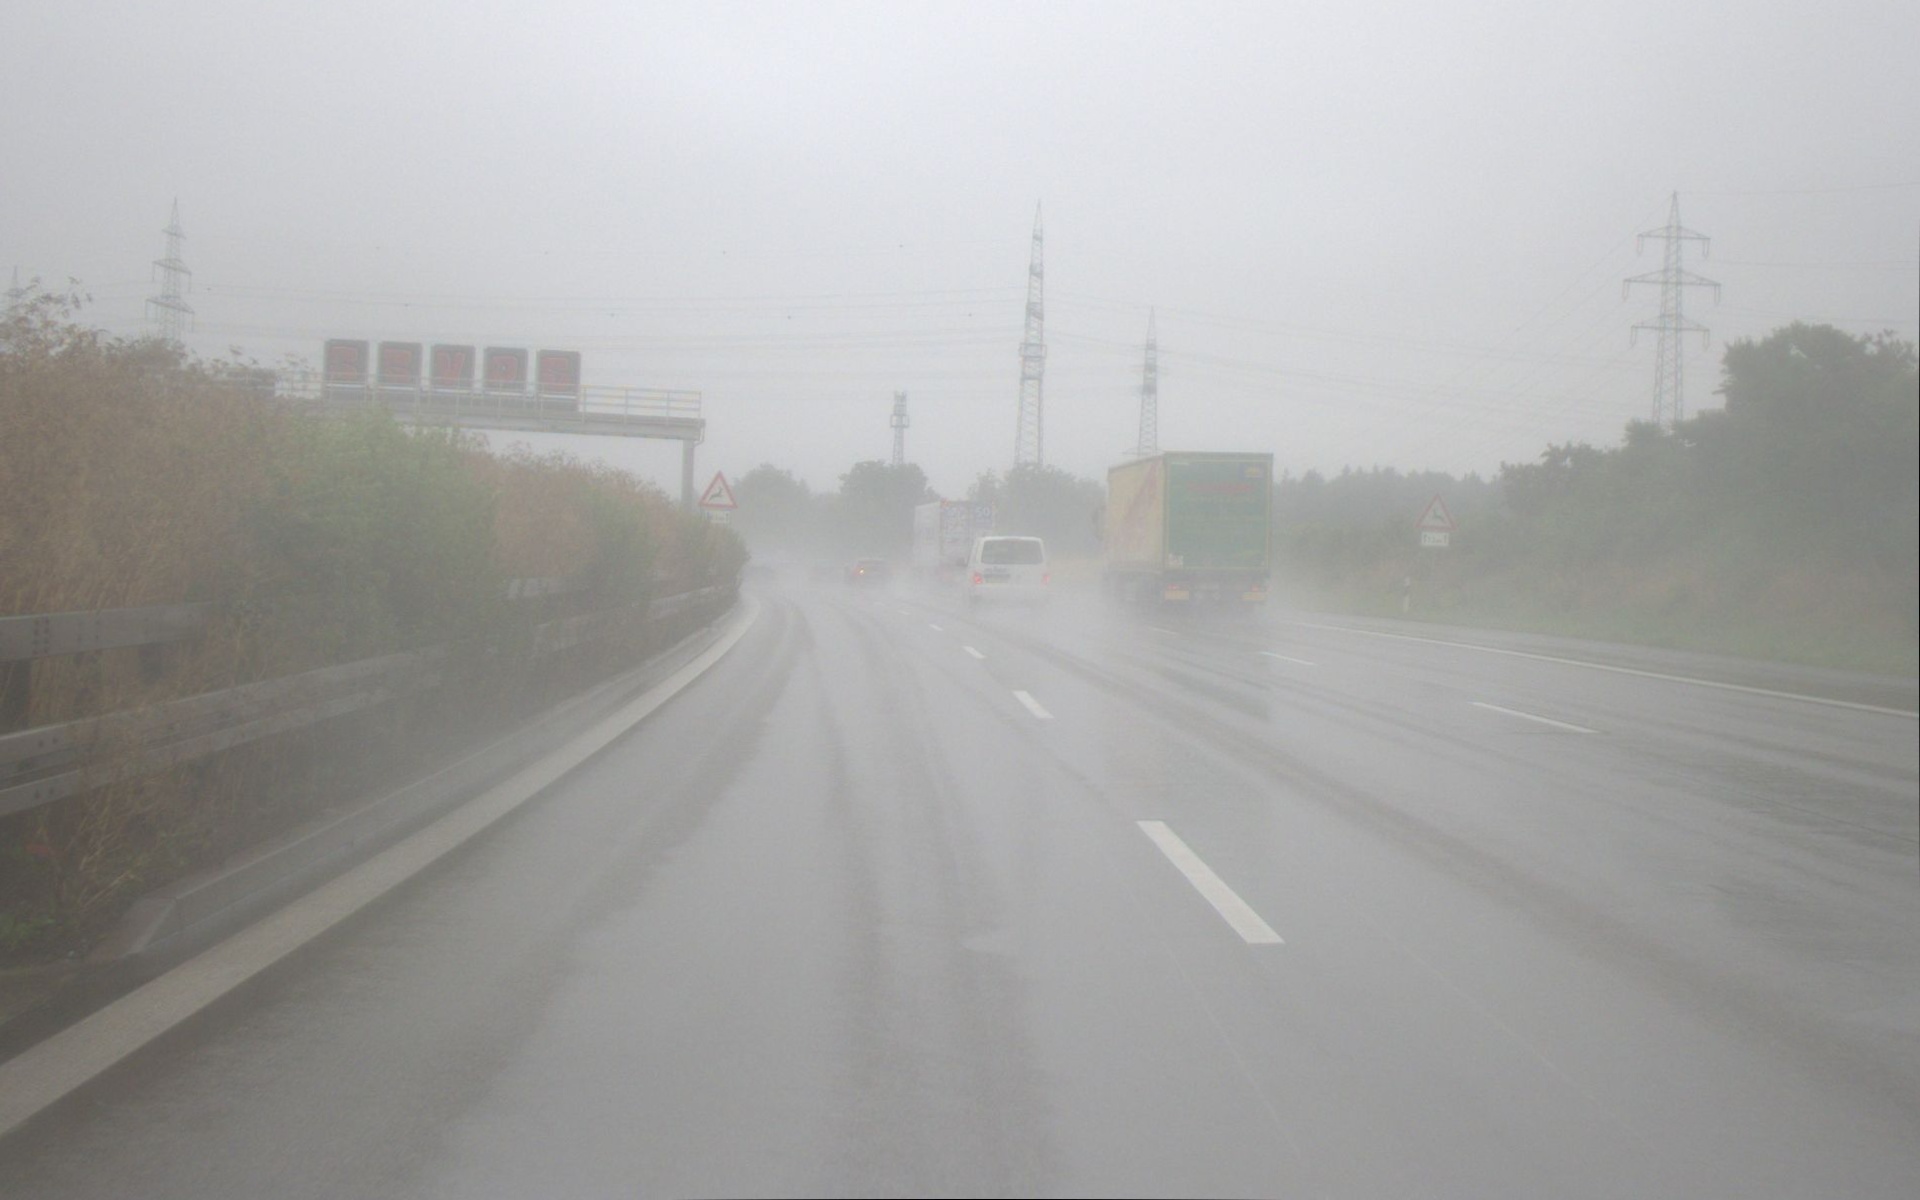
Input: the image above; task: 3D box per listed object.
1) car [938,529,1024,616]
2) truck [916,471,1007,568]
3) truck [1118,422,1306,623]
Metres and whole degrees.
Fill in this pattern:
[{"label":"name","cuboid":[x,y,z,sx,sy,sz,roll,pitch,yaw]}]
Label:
[{"label":"car","cuboid":[0.496,-0.688,82.249,1.993,2.007,4.000,1,1,0]},{"label":"truck","cuboid":[0.013,-3.659,156.629,3.232,4.296,8.839,0,1,-6]},{"label":"truck","cuboid":[6.188,-1.882,87.544,4.189,4.614,16.104,1,1,2]}]
